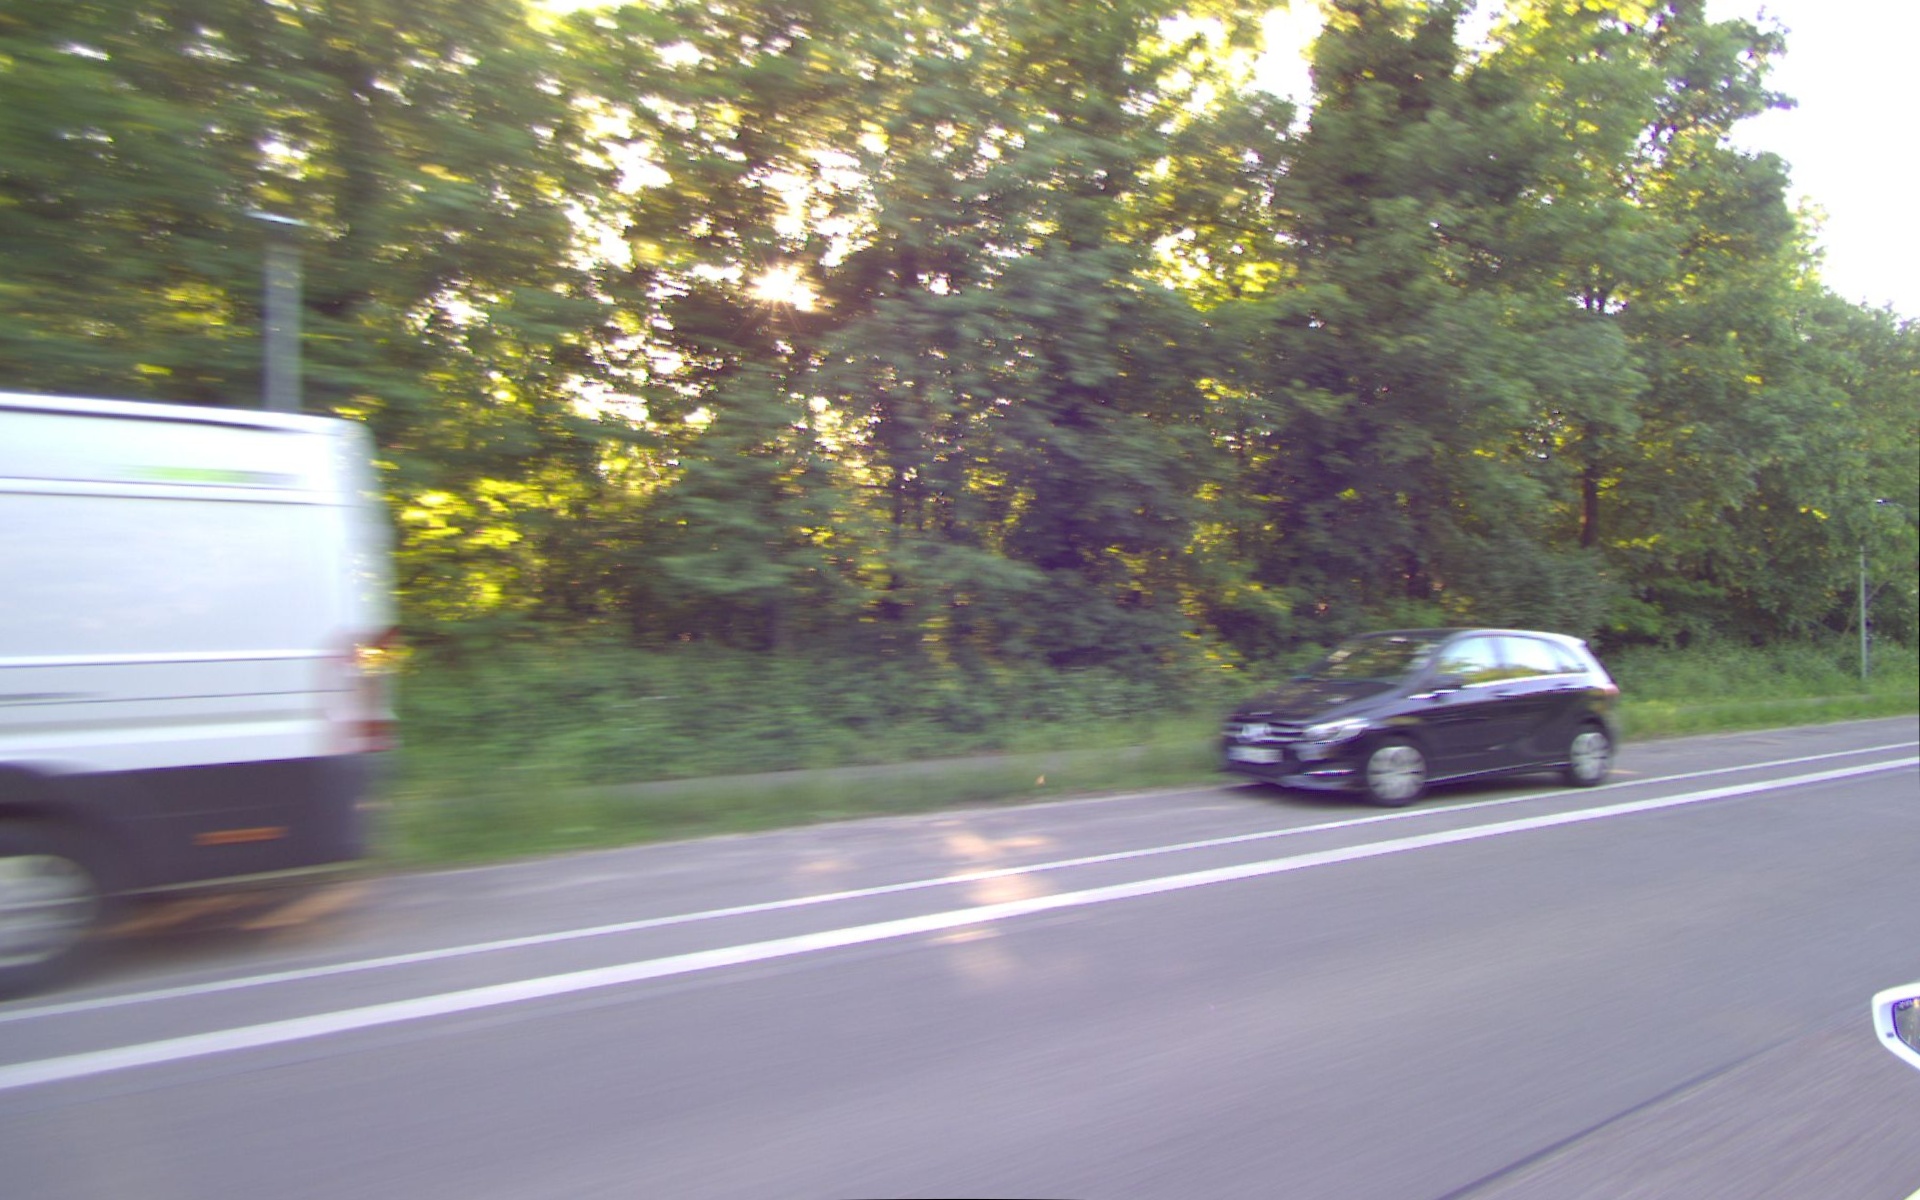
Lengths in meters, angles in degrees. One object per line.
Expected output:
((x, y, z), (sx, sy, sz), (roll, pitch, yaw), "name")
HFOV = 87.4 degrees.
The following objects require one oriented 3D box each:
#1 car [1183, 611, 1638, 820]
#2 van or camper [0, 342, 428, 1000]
((4.501, 1.010, 9.968), (4.320, 1.706, 1.775), (1, -2, -26), "car")
((-5.832, 0.266, 4.021), (6.465, 2.606, 2.111), (1, -1, -30), "van or camper")
